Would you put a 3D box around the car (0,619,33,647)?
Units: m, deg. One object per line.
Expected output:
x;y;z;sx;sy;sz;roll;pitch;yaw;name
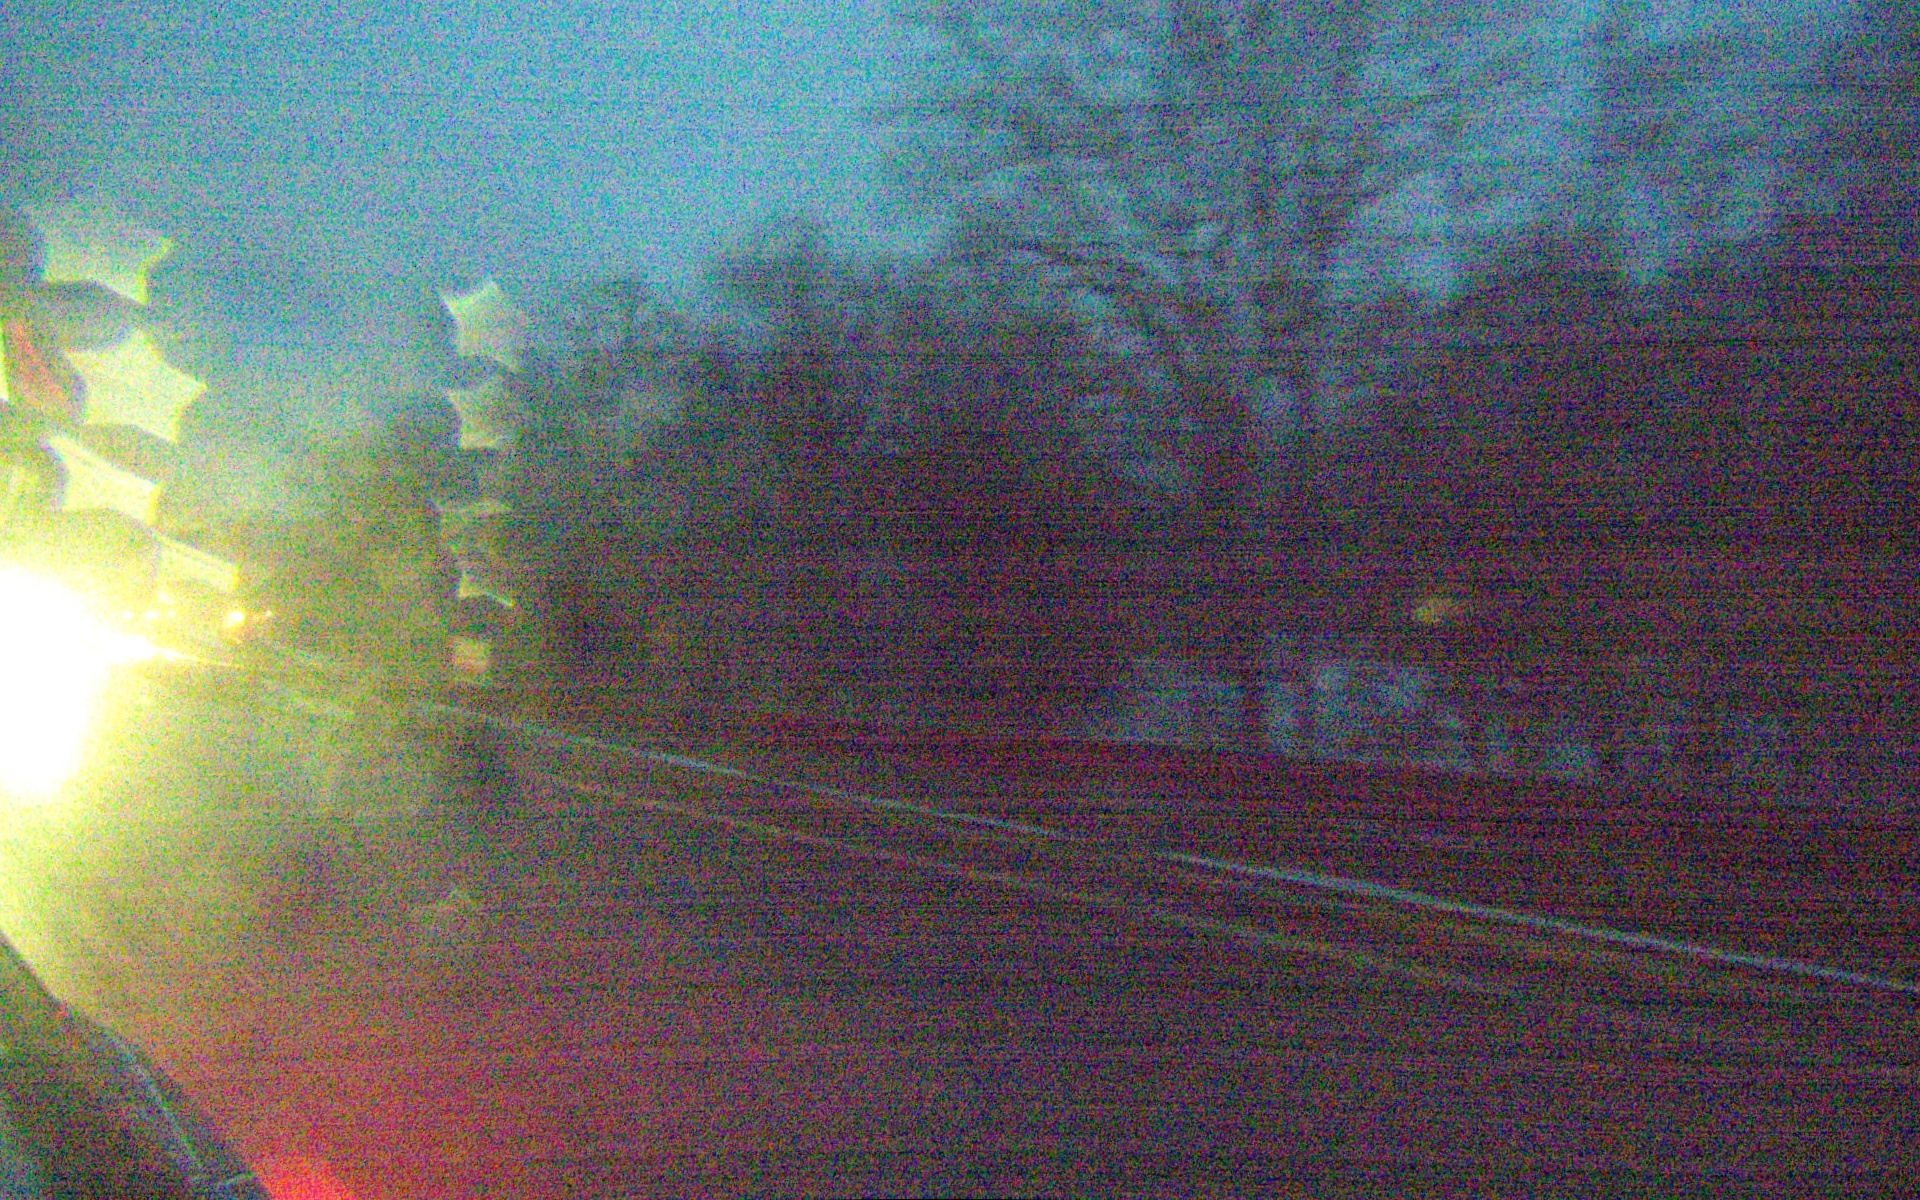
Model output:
-52.649;1.803;55.836;1.779;1.472;4.285;-1;0;-37;car

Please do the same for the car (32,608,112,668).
-31.506;1.290;35.859;1.970;1.940;4.004;-1;0;-43;car

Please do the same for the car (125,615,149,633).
-88.566;2.550;108.899;1.968;1.763;4.266;-1;0;-39;car
